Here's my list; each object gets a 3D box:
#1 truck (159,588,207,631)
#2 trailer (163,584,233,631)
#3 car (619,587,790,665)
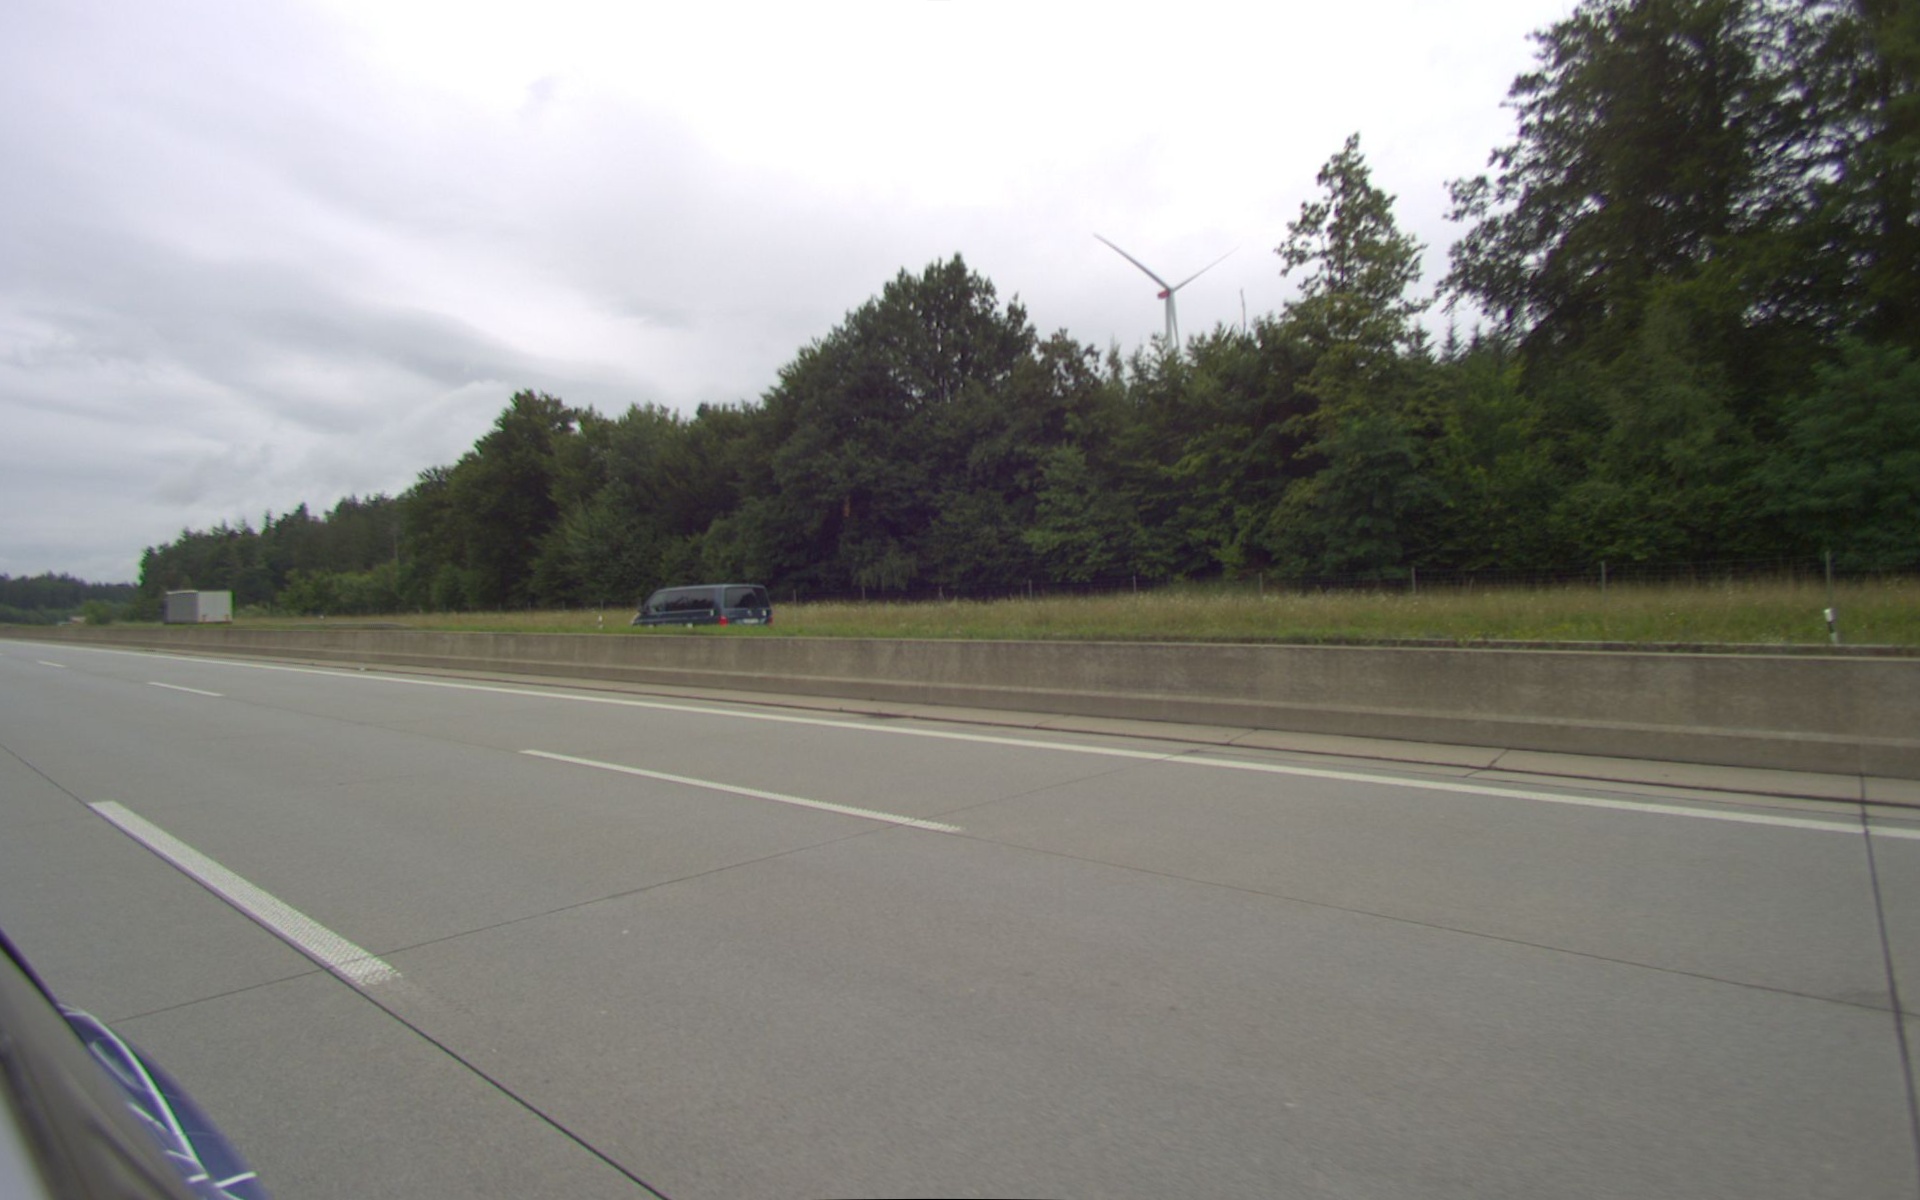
[{"bbox_3d":[-76.742,0.965,99.902,6.083,4.058,2.773,-2,-1,43],"label":"truck"},{"bbox_3d":[-72.154,0.789,95.645,13.986,4.050,2.780,-2,-1,43],"label":"trailer"},{"bbox_3d":[-7.380,0.707,28.885,5.425,2.029,2.040,-1,0,42],"label":"car"}]
